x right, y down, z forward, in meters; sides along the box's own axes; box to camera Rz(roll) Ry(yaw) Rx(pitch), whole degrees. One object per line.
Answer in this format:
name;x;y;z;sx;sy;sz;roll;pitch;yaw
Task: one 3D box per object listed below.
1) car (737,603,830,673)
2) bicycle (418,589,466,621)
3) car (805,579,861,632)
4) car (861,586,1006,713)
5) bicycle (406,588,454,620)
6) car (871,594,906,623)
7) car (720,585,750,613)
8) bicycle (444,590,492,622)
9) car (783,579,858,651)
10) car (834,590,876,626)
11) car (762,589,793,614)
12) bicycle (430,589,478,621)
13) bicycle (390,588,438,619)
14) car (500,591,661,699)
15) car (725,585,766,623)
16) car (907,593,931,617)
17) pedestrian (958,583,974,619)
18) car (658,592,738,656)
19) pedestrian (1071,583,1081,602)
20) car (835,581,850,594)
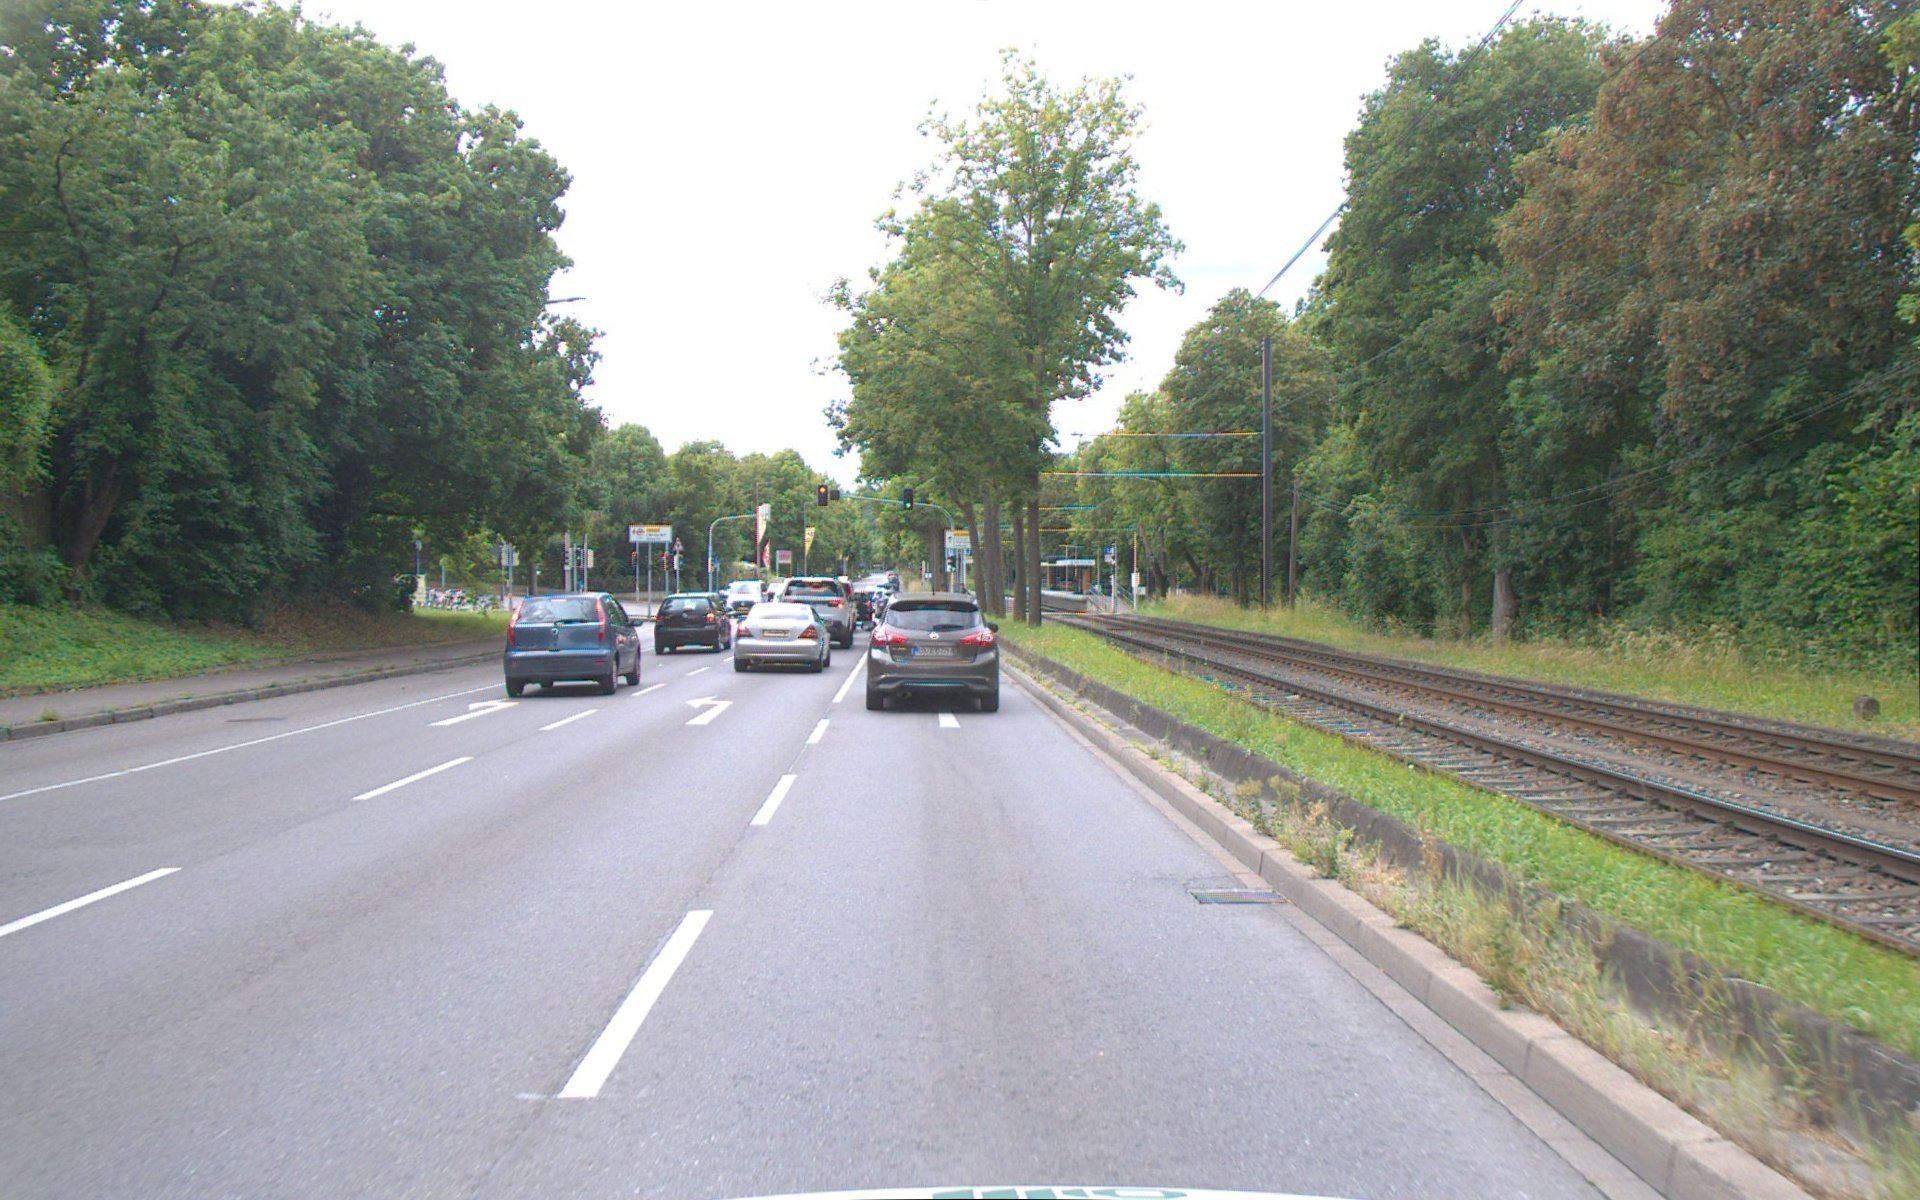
car;-3.408;0.705;32.472;1.523;1.289;3.821;1;0;-2
bicycle;-21.272;0.201;67.941;0.535;1.274;1.928;2;0;35
car;-4.685;0.180;61.603;1.868;1.875;5.279;0;0;-2
car;-0.343;0.613;22.767;1.800;1.555;3.928;1;0;0
bicycle;-21.987;0.178;68.643;0.535;1.274;1.928;2;0;35
car;-3.823;0.449;88.971;1.675;1.501;3.671;1;0;0
car;-15.508;-0.086;114.212;1.906;1.843;4.437;1;0;-7
bicycle;-20.059;0.242;67.435;0.535;1.274;1.928;2;0;35
car;-3.747;0.397;45.054;1.767;1.826;4.501;1;0;-2
car;-4.538;0.316;71.751;1.669;1.506;3.666;0;0;-2
car;-12.262;0.092;111.400;1.704;1.565;3.909;2;0;-2
bicycle;-20.693;0.220;67.706;0.535;1.274;1.928;2;0;35
bicycle;-22.790;0.151;69.067;0.535;1.274;1.928;2;0;35
car;-5.731;0.627;25.417;1.559;1.493;3.928;-1;0;0
car;-11.167;0.189;86.269;1.755;1.863;4.407;-1;0;-3
car;-2.650;0.314;107.976;1.472;1.555;3.671;1;0;0
pedestrian;0.300;0.054;82.298;0.736;1.767;0.840;-2;0;2
car;-6.617;0.583;42.049;1.525;1.492;3.806;-2;0;-2
pedestrian;9.361;-0.626;133.910;0.703;1.537;0.724;2;0;1
car;-15.694;-1.645;220.858;1.864;1.708;5.076;0;0;-4
